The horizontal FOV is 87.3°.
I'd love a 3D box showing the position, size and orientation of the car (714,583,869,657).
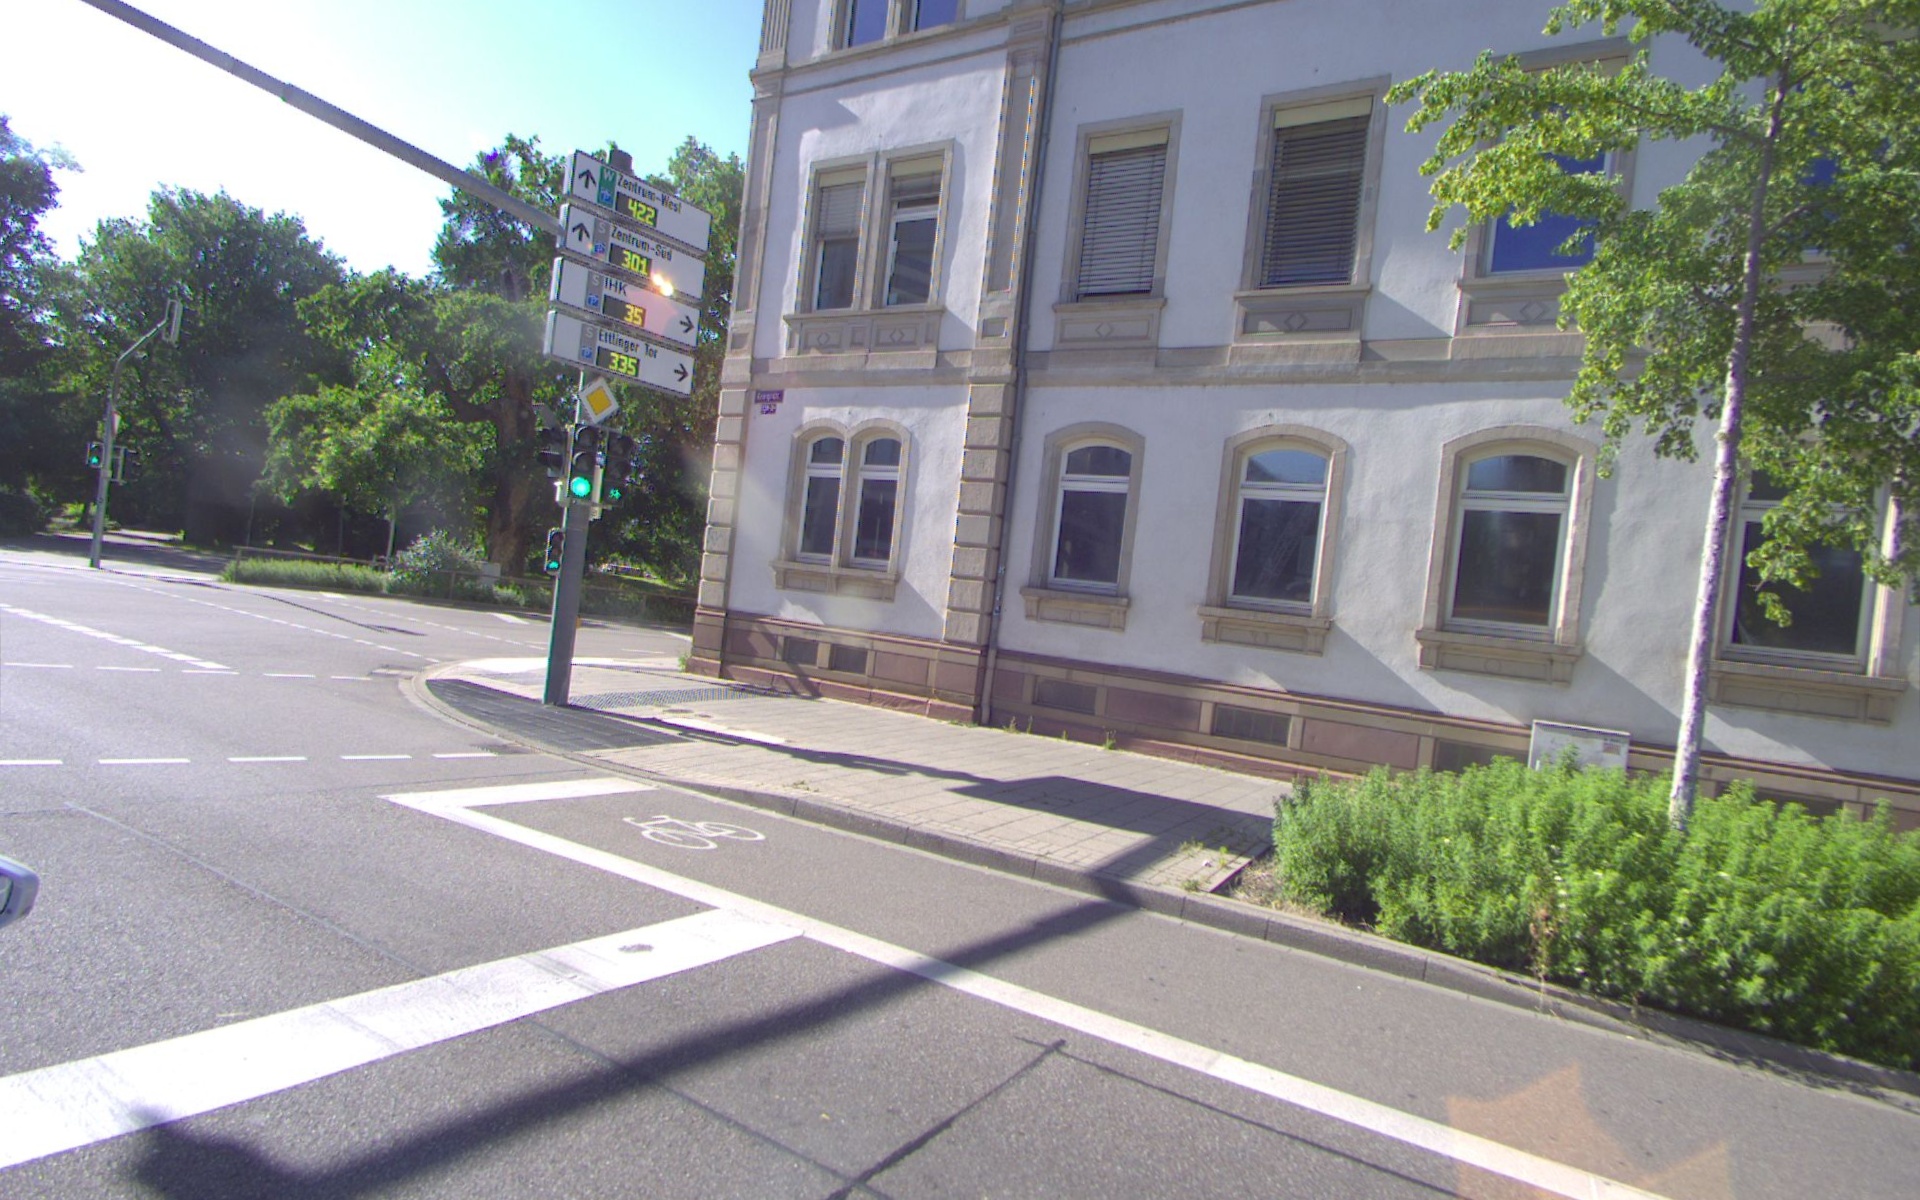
[{"bbox_3d":[-4.850,0.610,29.218,3.967,1.500,1.715,9,1,-36],"label":"car"}]
